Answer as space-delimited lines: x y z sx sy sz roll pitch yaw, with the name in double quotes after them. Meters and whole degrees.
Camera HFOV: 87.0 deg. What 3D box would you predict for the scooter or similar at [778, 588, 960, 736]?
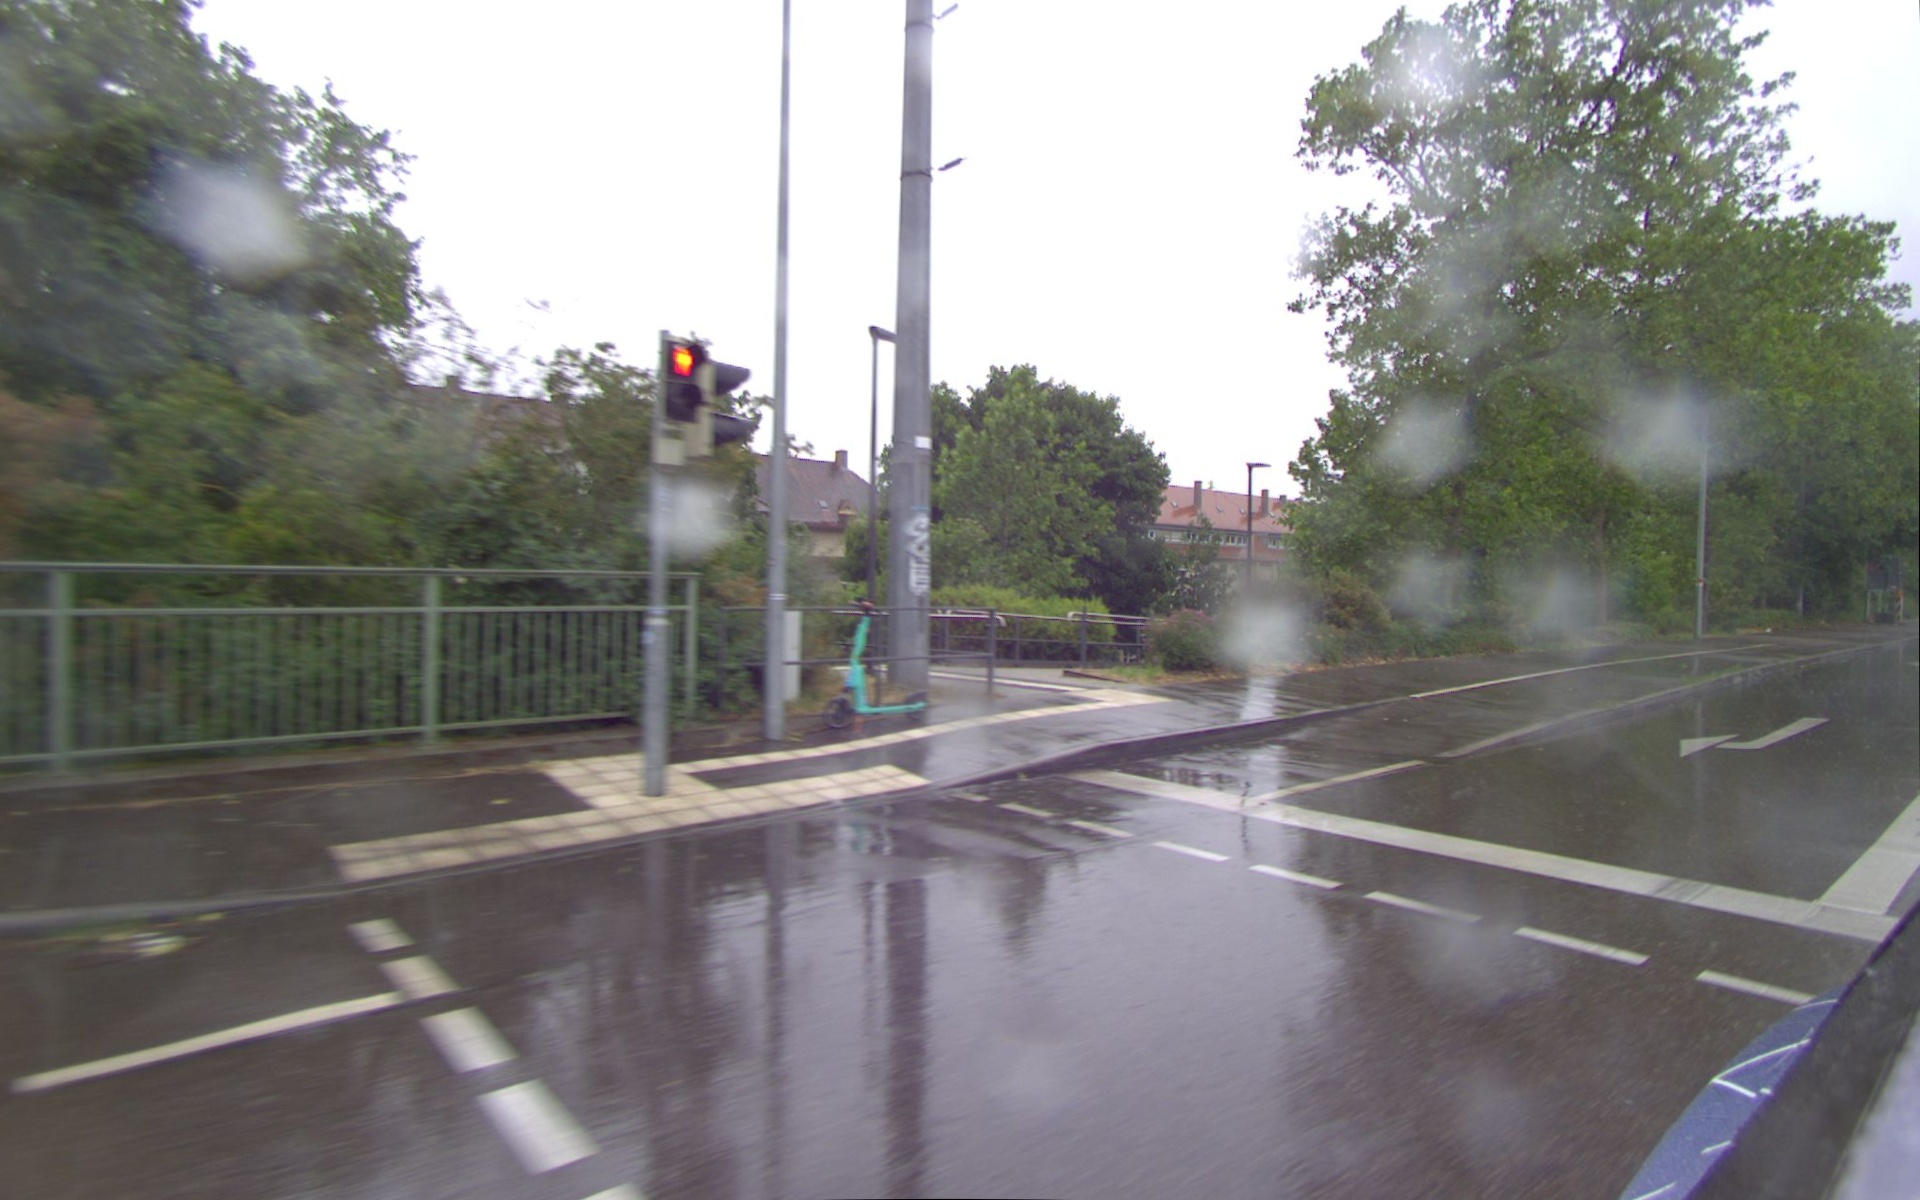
-0.866 0.542 9.851 1.617 1.309 0.761 -1 1 -38 "scooter or similar"
